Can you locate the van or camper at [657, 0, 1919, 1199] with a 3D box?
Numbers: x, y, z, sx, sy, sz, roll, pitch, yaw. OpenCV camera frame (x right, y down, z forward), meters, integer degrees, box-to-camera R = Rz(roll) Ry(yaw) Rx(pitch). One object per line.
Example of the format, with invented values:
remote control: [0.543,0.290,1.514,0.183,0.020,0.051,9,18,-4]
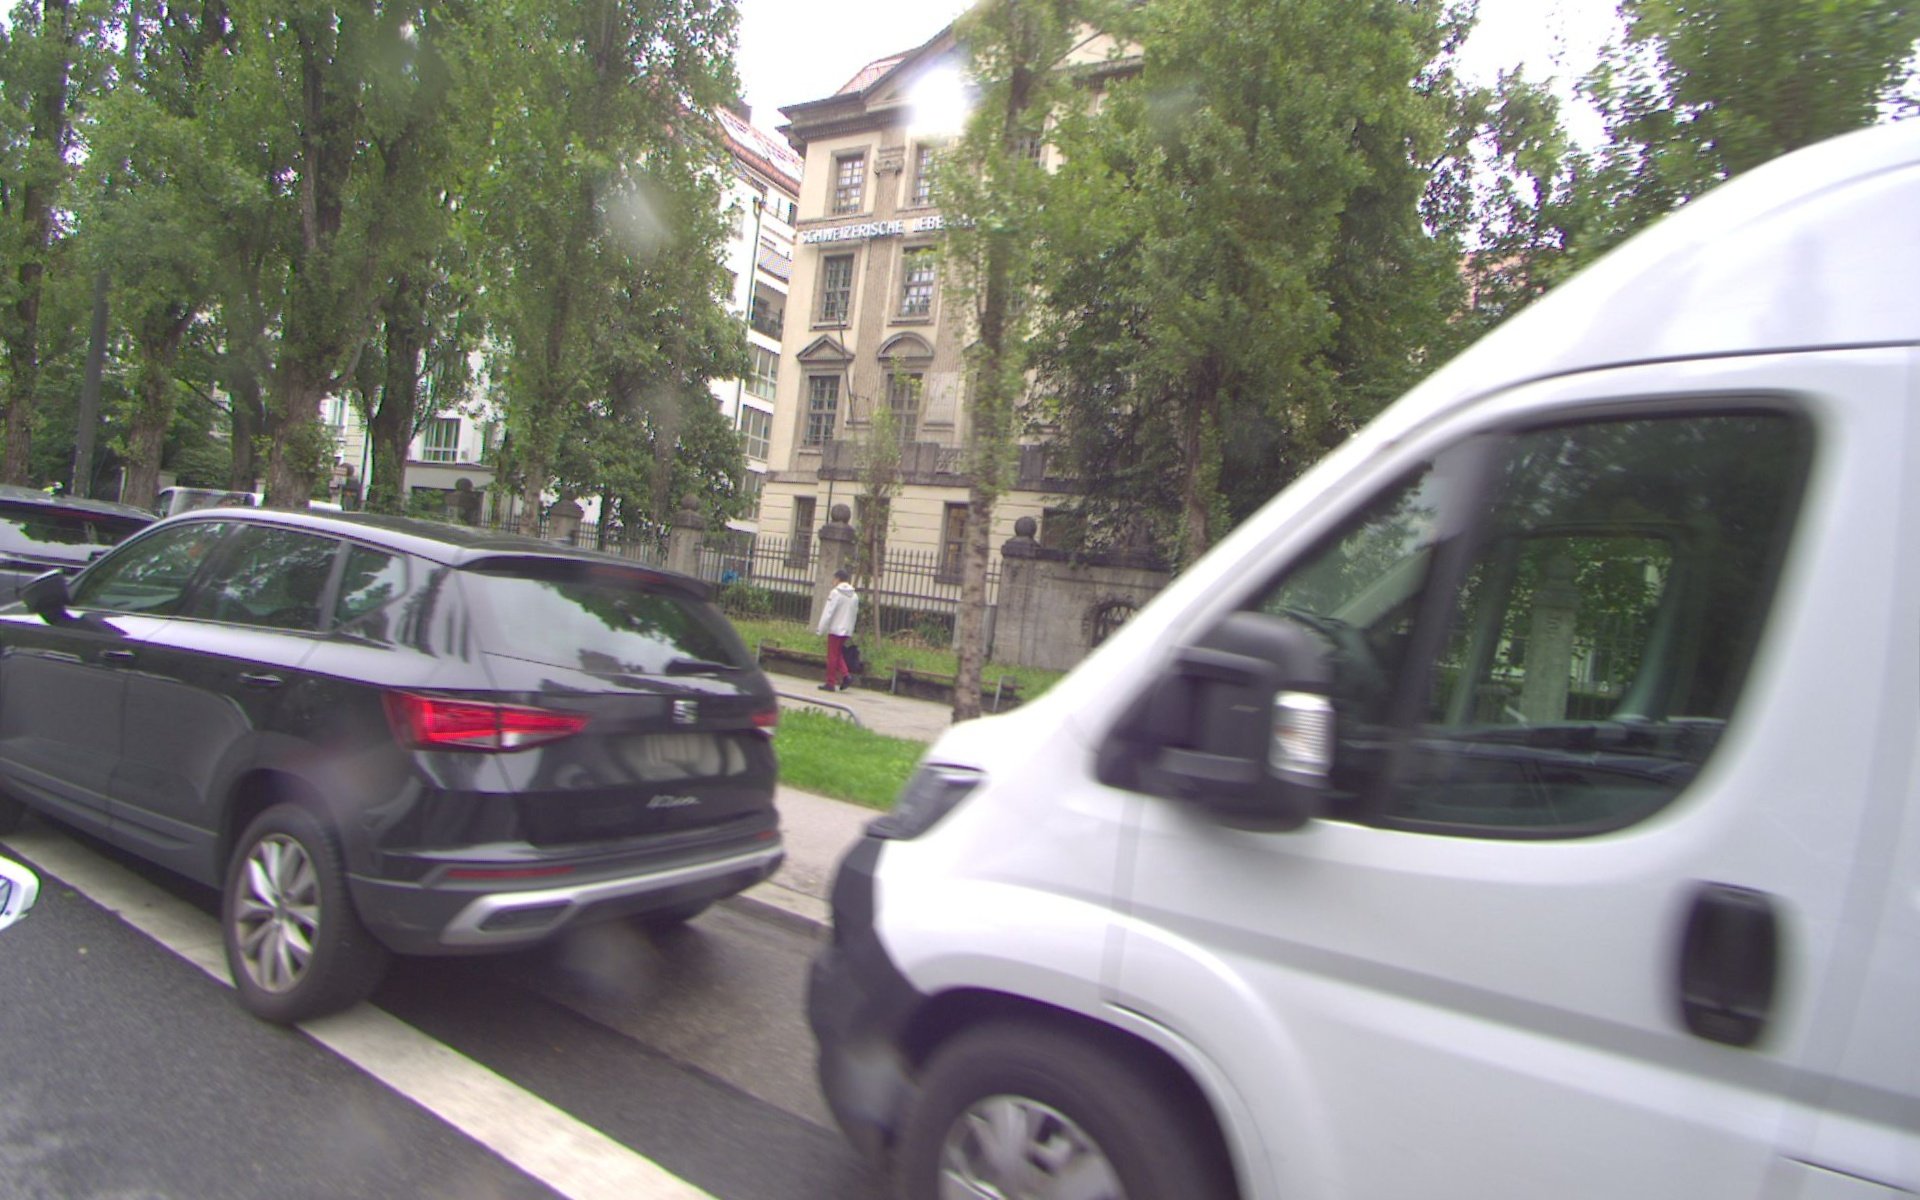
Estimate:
van or camper: [2.657,0.532,1.630,6.310,2.571,2.142,7,0,31]

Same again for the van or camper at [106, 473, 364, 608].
van or camper: [-14.274,-1.199,19.722,5.279,1.956,2.080,7,-1,32]

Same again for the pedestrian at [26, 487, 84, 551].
pedestrian: [-28.646,-2.560,31.846,0.814,1.823,0.904,9,2,10]

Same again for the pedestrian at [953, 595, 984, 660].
pedestrian: [0.260,0.830,30.082,0.495,1.886,0.637,7,1,29]

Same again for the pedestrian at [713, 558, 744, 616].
pedestrian: [-7.951,-0.431,34.569,0.592,1.886,0.638,7,1,23]

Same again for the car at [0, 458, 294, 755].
car: [-6.953,-0.163,7.167,4.560,1.638,1.786,7,0,31]

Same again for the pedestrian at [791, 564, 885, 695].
pedestrian: [-1.796,0.443,14.845,0.880,1.790,0.796,7,1,31]

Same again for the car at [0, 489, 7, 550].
car: [-11.173,-0.556,9.716,4.223,1.538,1.705,7,0,31]

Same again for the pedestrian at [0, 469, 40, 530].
pedestrian: [-30.009,-3.196,31.891,0.805,1.804,0.802,7,1,14]

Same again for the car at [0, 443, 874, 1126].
car: [-2.759,0.358,4.436,4.342,1.669,1.788,7,0,29]
